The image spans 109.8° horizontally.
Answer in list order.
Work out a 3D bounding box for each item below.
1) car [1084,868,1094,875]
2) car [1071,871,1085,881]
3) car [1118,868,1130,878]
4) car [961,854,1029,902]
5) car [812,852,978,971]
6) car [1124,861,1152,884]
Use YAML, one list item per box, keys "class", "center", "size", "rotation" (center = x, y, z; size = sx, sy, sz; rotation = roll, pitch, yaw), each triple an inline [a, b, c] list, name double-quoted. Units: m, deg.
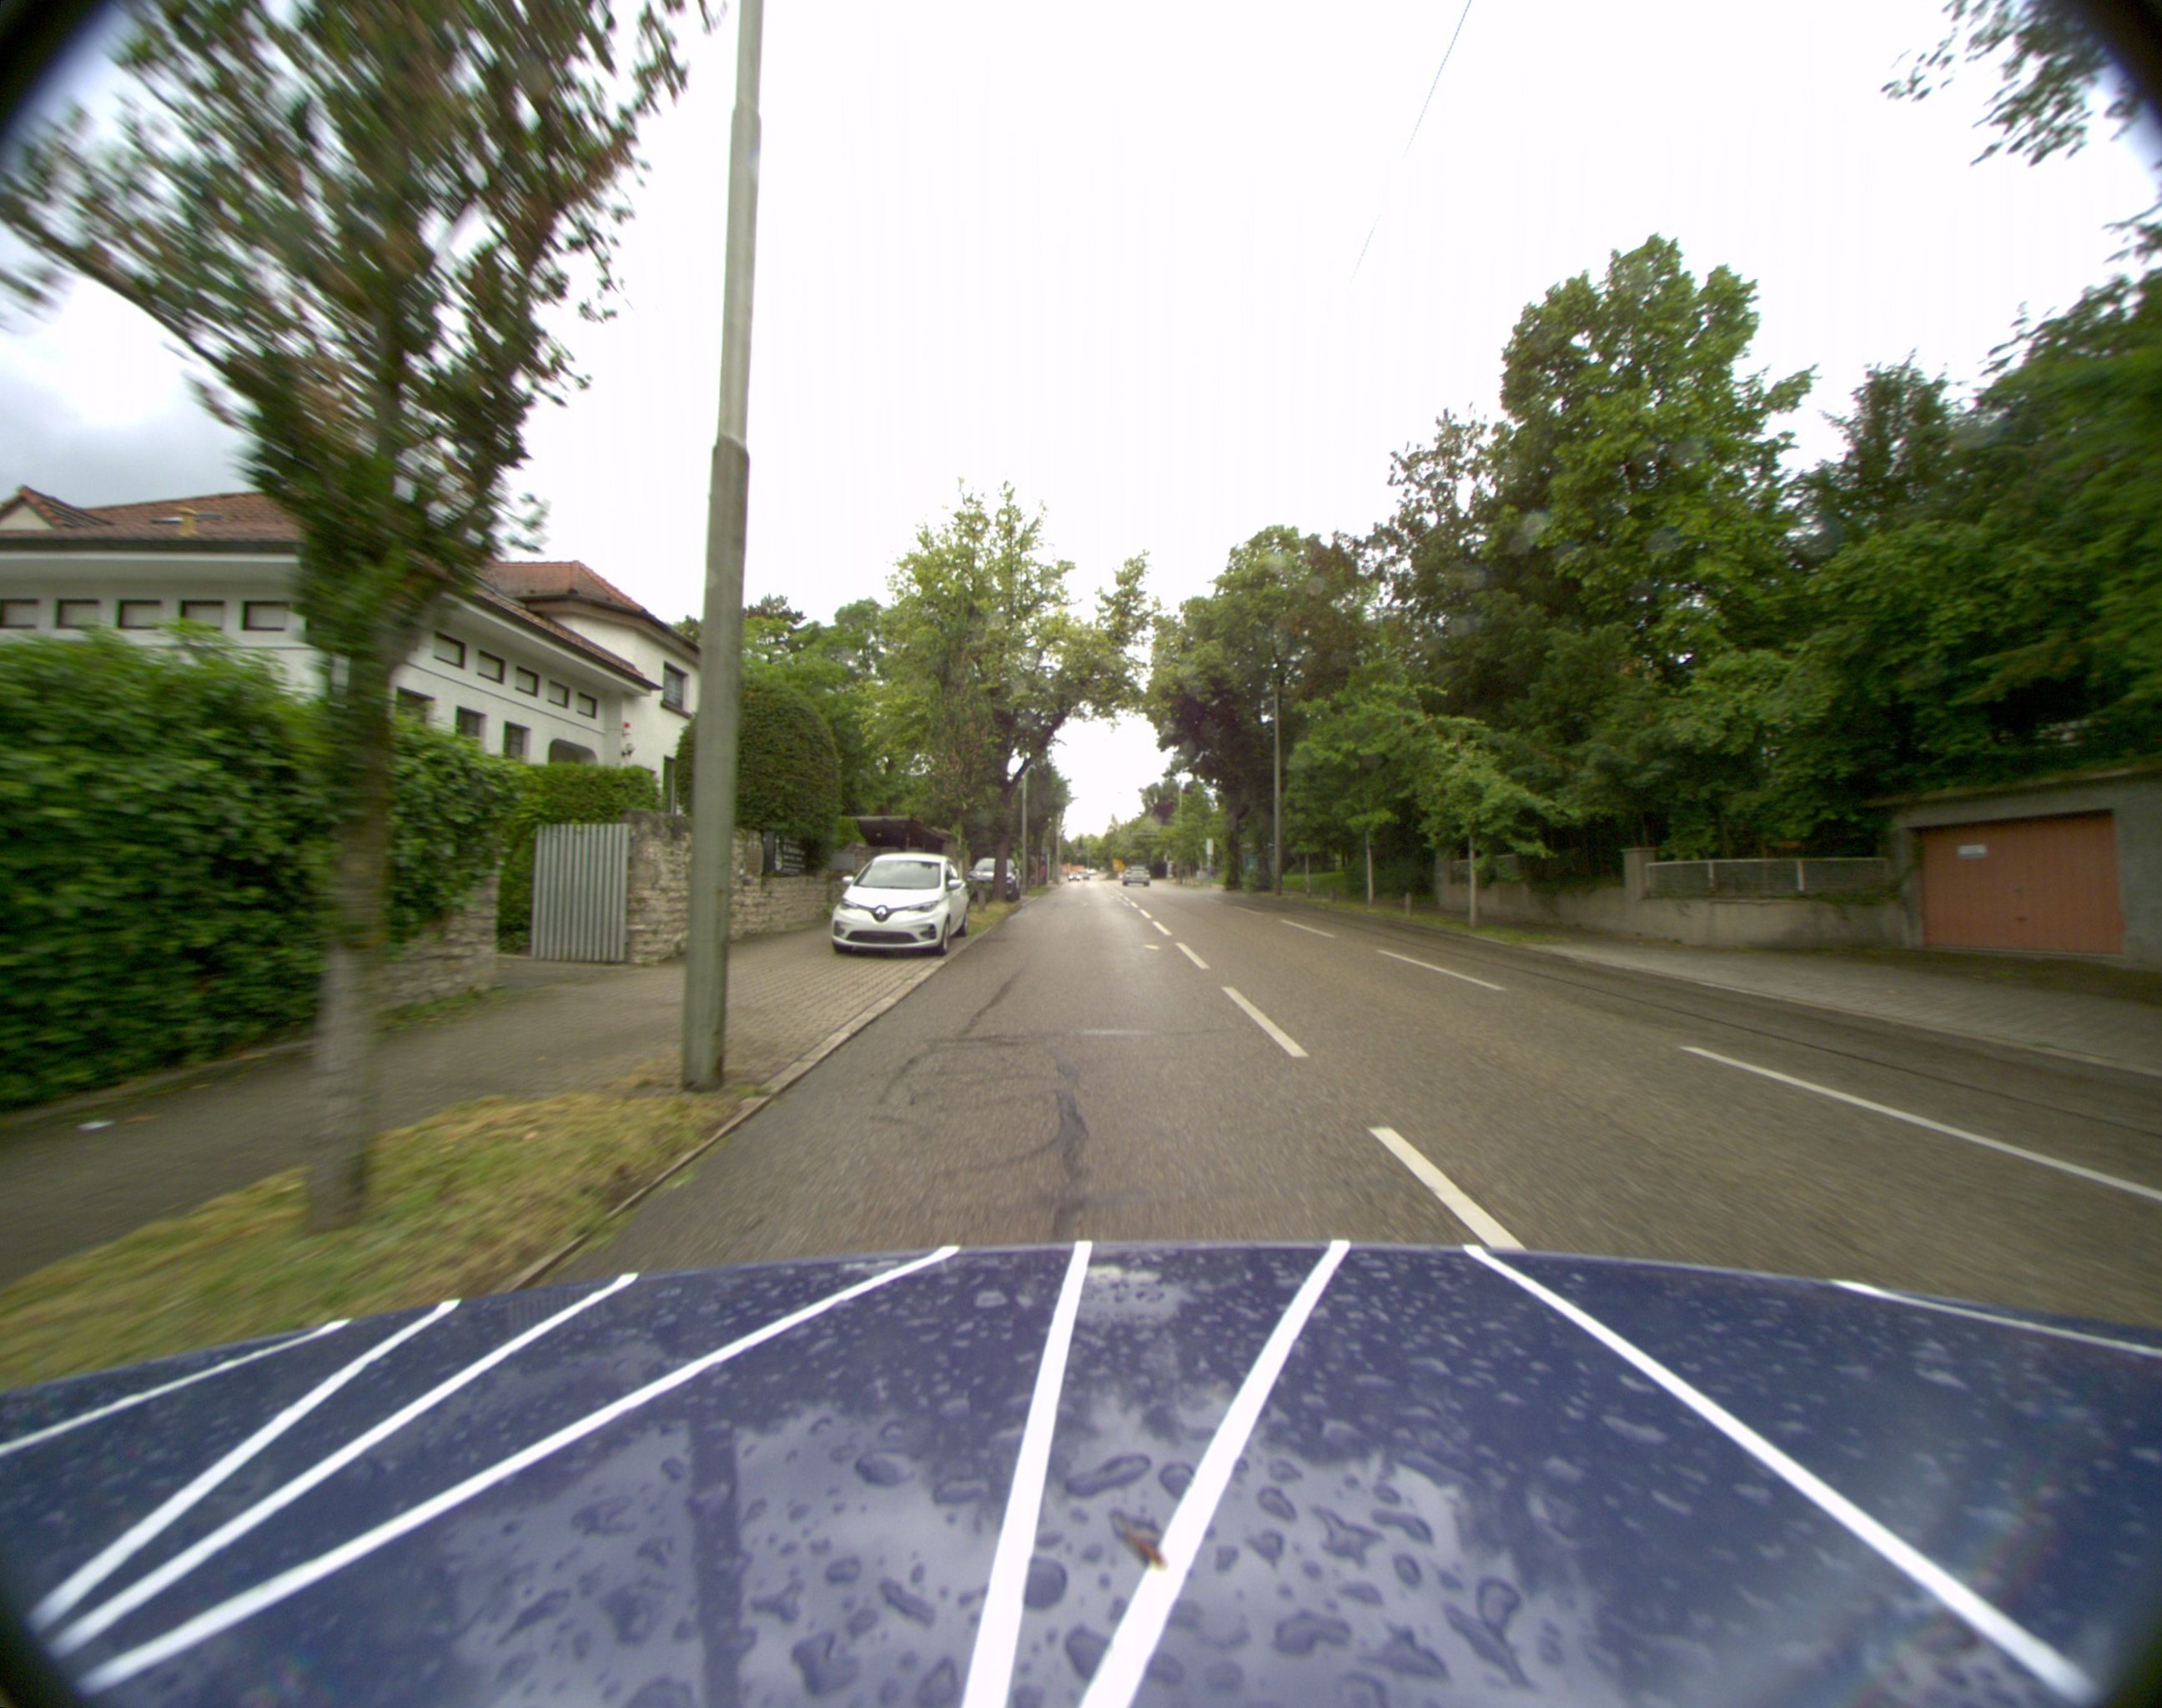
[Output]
- class: "car"
  center: [1.959, 4.470, 192.495]
  size: [1.878, 1.540, 3.996]
  rotation: [2, 0, -10]
- class: "car"
  center: [-0.493, 3.747, 131.177]
  size: [1.998, 1.673, 4.002]
  rotation: [-3, -1, 3]
- class: "car"
  center: [7.058, 3.105, 125.241]
  size: [1.876, 1.539, 4.001]
  rotation: [2, -1, 1]
- class: "car"
  center: [-3.095, 0.883, 28.112]
  size: [1.923, 1.558, 4.221]
  rotation: [2, -2, 1]
- class: "car"
  center: [-2.911, 0.822, 12.795]
  size: [1.829, 1.620, 3.999]
  rotation: [2, 0, -1]
- class: "car"
  center: [4.089, 1.306, 55.135]
  size: [1.798, 1.500, 4.093]
  rotation: [0, 0, 0]
